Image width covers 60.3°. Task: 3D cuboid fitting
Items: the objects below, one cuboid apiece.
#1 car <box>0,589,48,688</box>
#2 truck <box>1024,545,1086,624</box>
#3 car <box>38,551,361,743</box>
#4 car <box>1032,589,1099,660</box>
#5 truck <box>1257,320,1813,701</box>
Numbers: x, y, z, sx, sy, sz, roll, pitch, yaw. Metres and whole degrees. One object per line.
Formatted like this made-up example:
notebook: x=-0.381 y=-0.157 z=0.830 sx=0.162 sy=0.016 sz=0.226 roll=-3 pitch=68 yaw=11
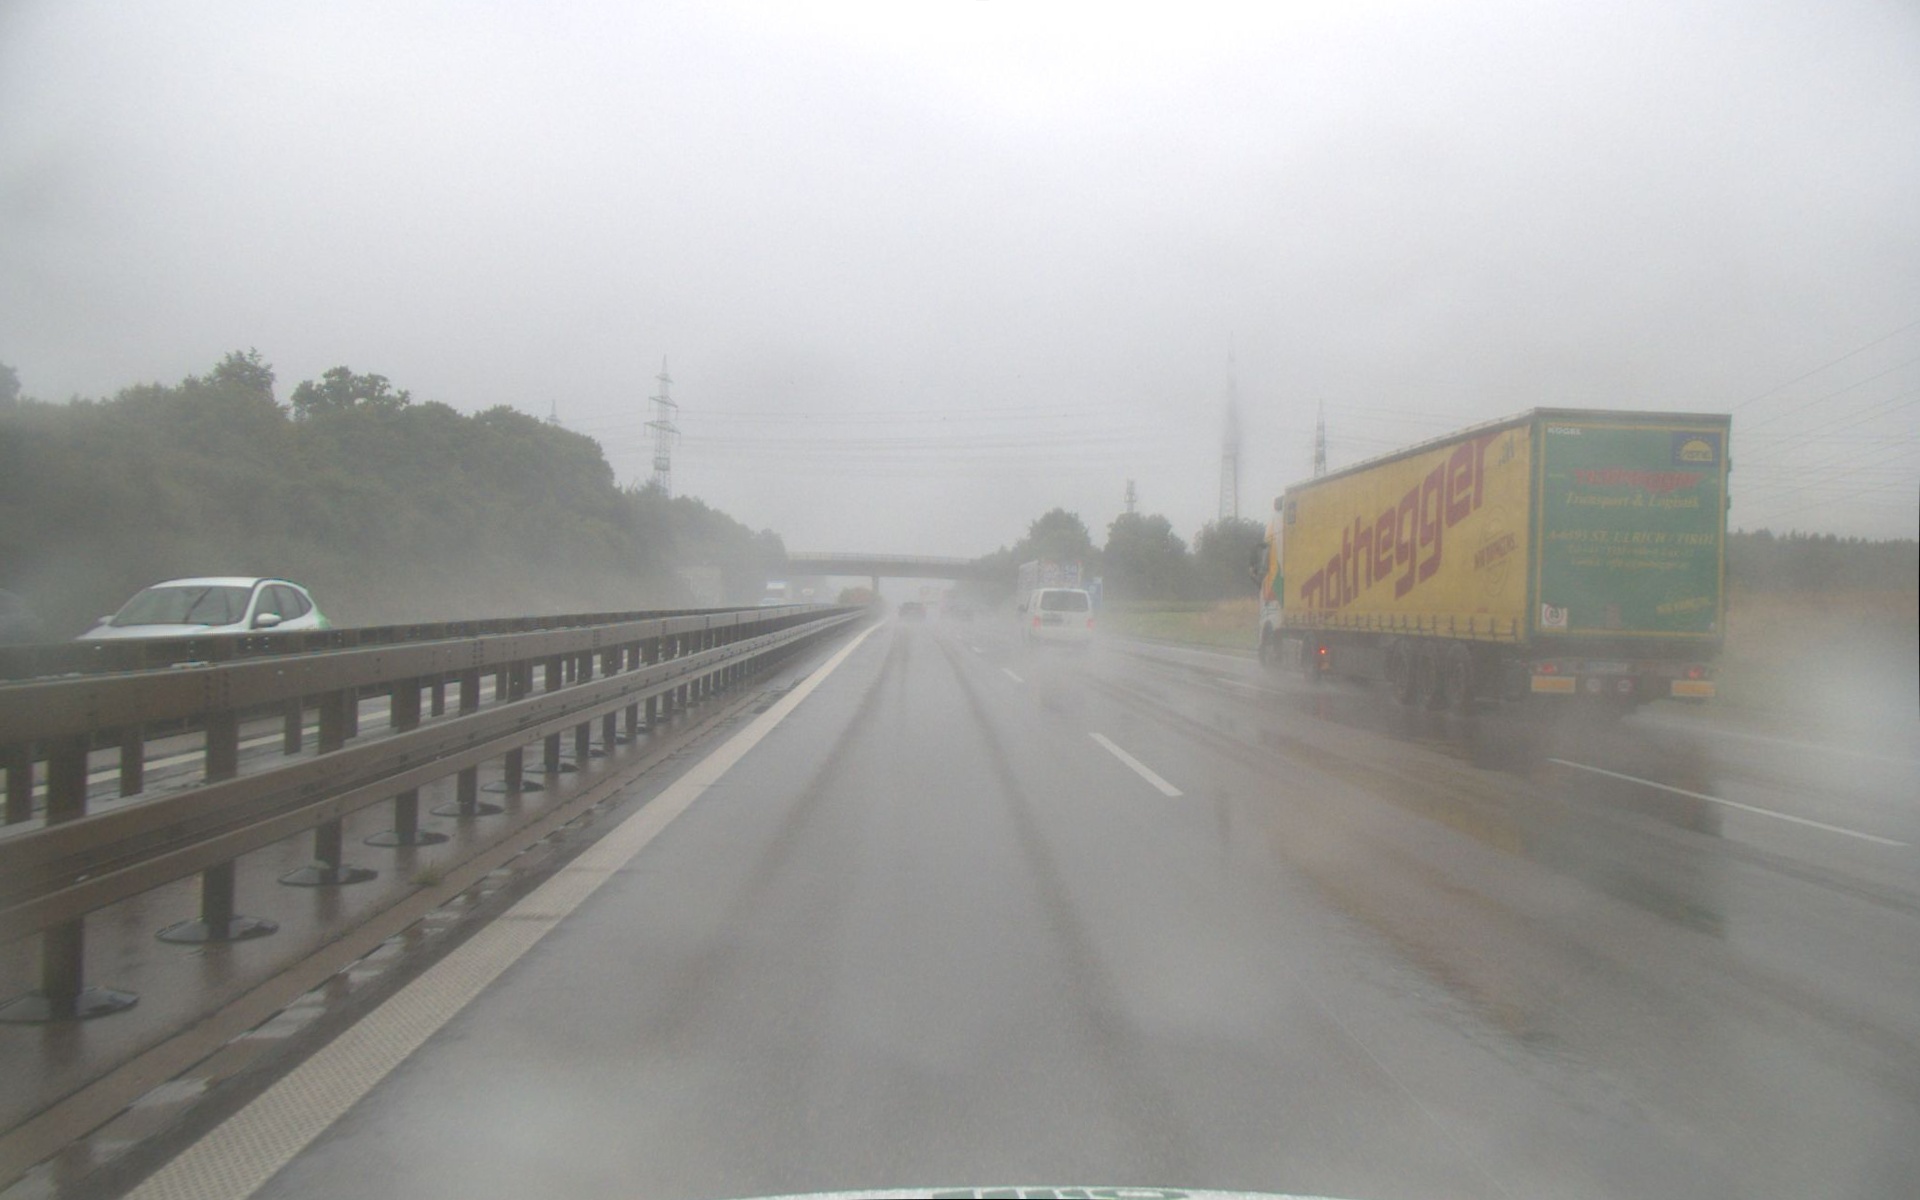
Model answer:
car: x=-16.637 y=0.661 z=26.672 sx=1.590 sy=1.601 sz=4.001 roll=1 pitch=2 yaw=1
truck: x=5.503 y=-0.925 z=97.313 sx=3.166 sy=4.386 sz=8.837 roll=0 pitch=1 yaw=0
car: x=-8.927 y=0.506 z=19.835 sx=1.952 sy=2.049 sz=4.000 roll=0 pitch=0 yaw=1
car: x=3.158 y=0.704 z=50.211 sx=1.952 sy=2.049 sz=4.002 roll=0 pitch=1 yaw=3
truck: x=8.590 y=-1.143 z=28.601 sx=4.103 sy=4.711 sz=16.106 roll=0 pitch=0 yaw=0
